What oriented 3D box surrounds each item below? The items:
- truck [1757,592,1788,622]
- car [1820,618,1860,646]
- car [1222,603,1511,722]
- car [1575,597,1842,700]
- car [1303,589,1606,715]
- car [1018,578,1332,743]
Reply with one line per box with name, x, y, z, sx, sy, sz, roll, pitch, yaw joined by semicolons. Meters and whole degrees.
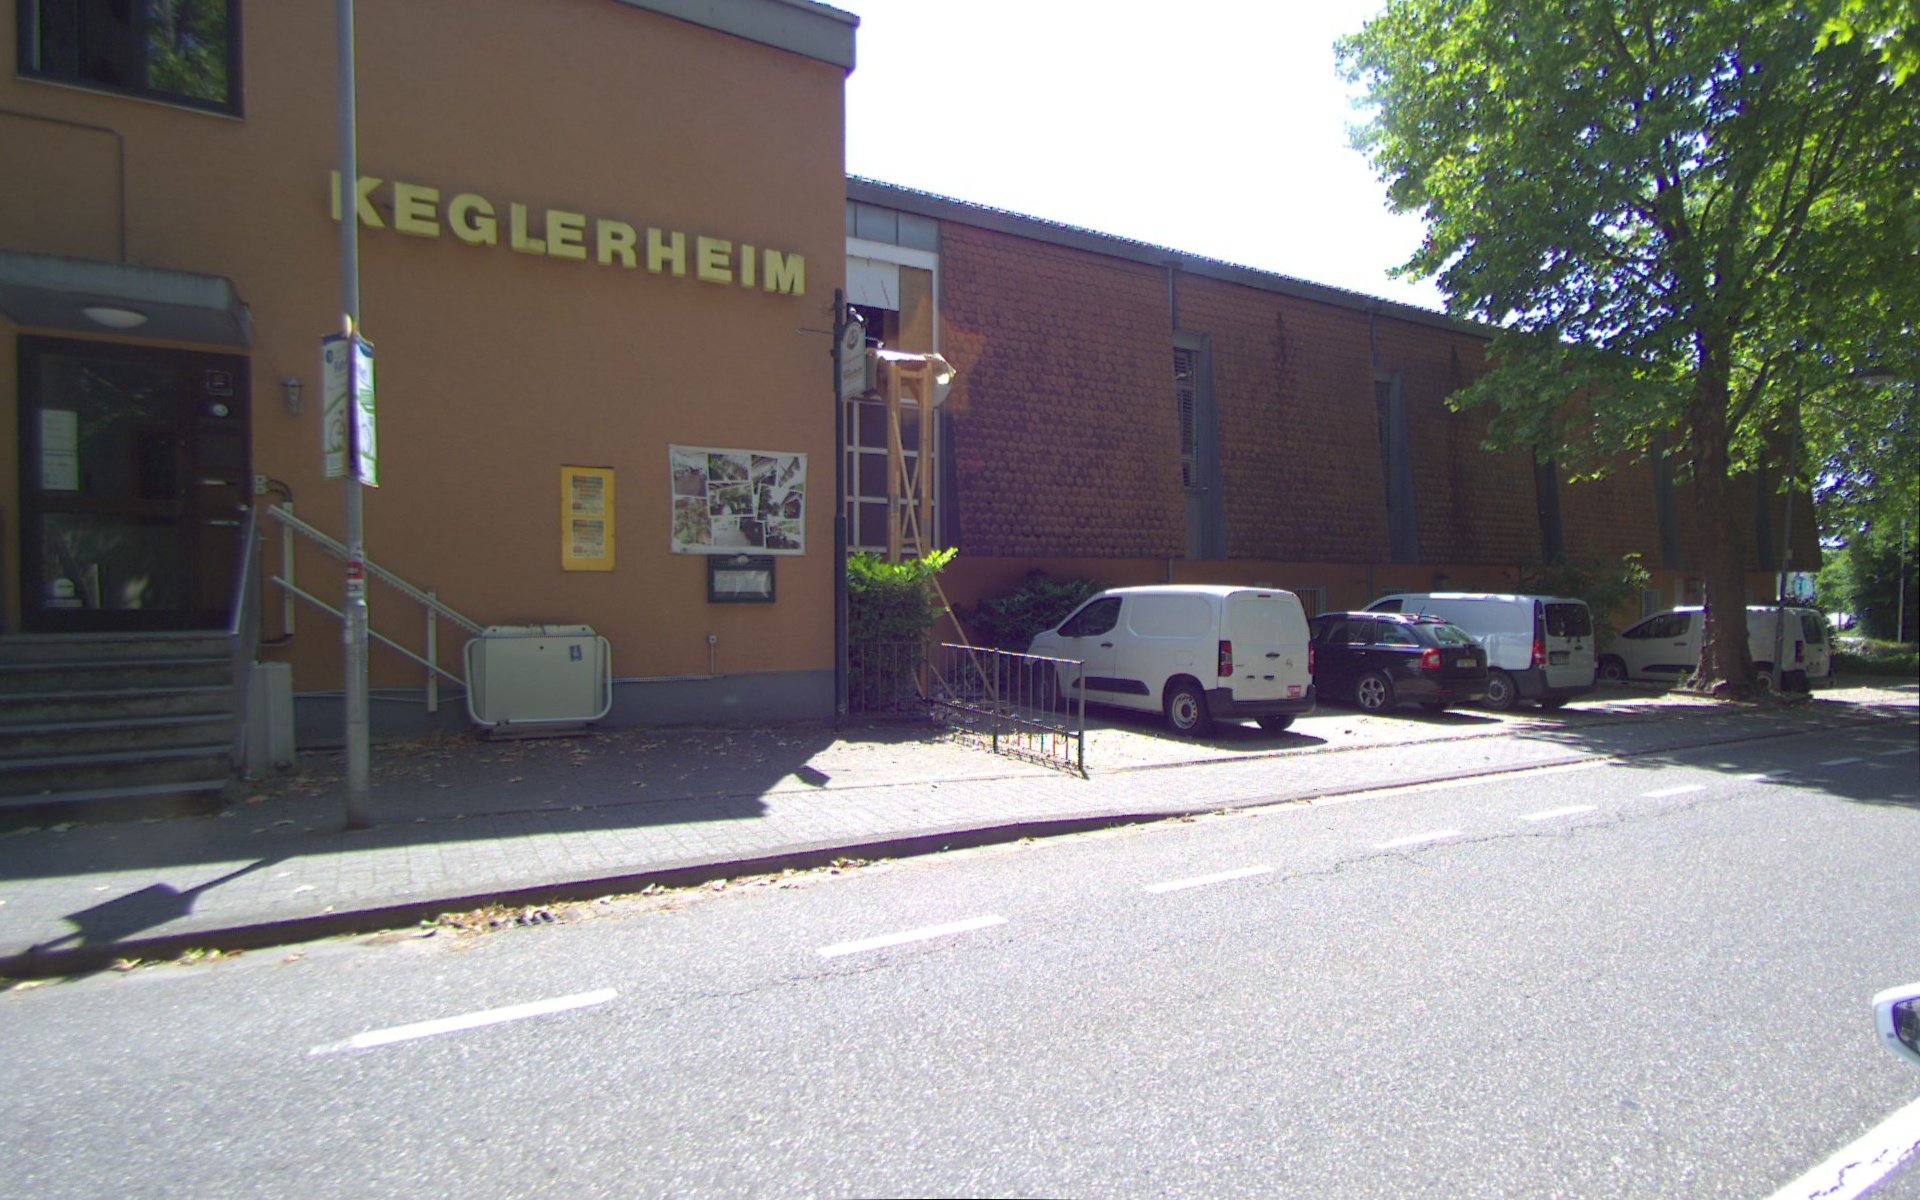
truck;86.491;0.815;106.972;2.291;2.930;6.559;1;-2;37
car;68.081;2.504;77.707;3.973;2.040;1.974;3;-2;-43
car;6.383;0.902;16.184;1.848;1.535;3.964;2;1;-33
car;15.657;0.935;21.231;1.883;1.828;4.104;1;1;-32
car;8.451;0.789;17.579;1.883;1.828;4.397;1;1;-32
car;2.713;0.673;13.512;1.848;1.816;3.964;1;1;-33
